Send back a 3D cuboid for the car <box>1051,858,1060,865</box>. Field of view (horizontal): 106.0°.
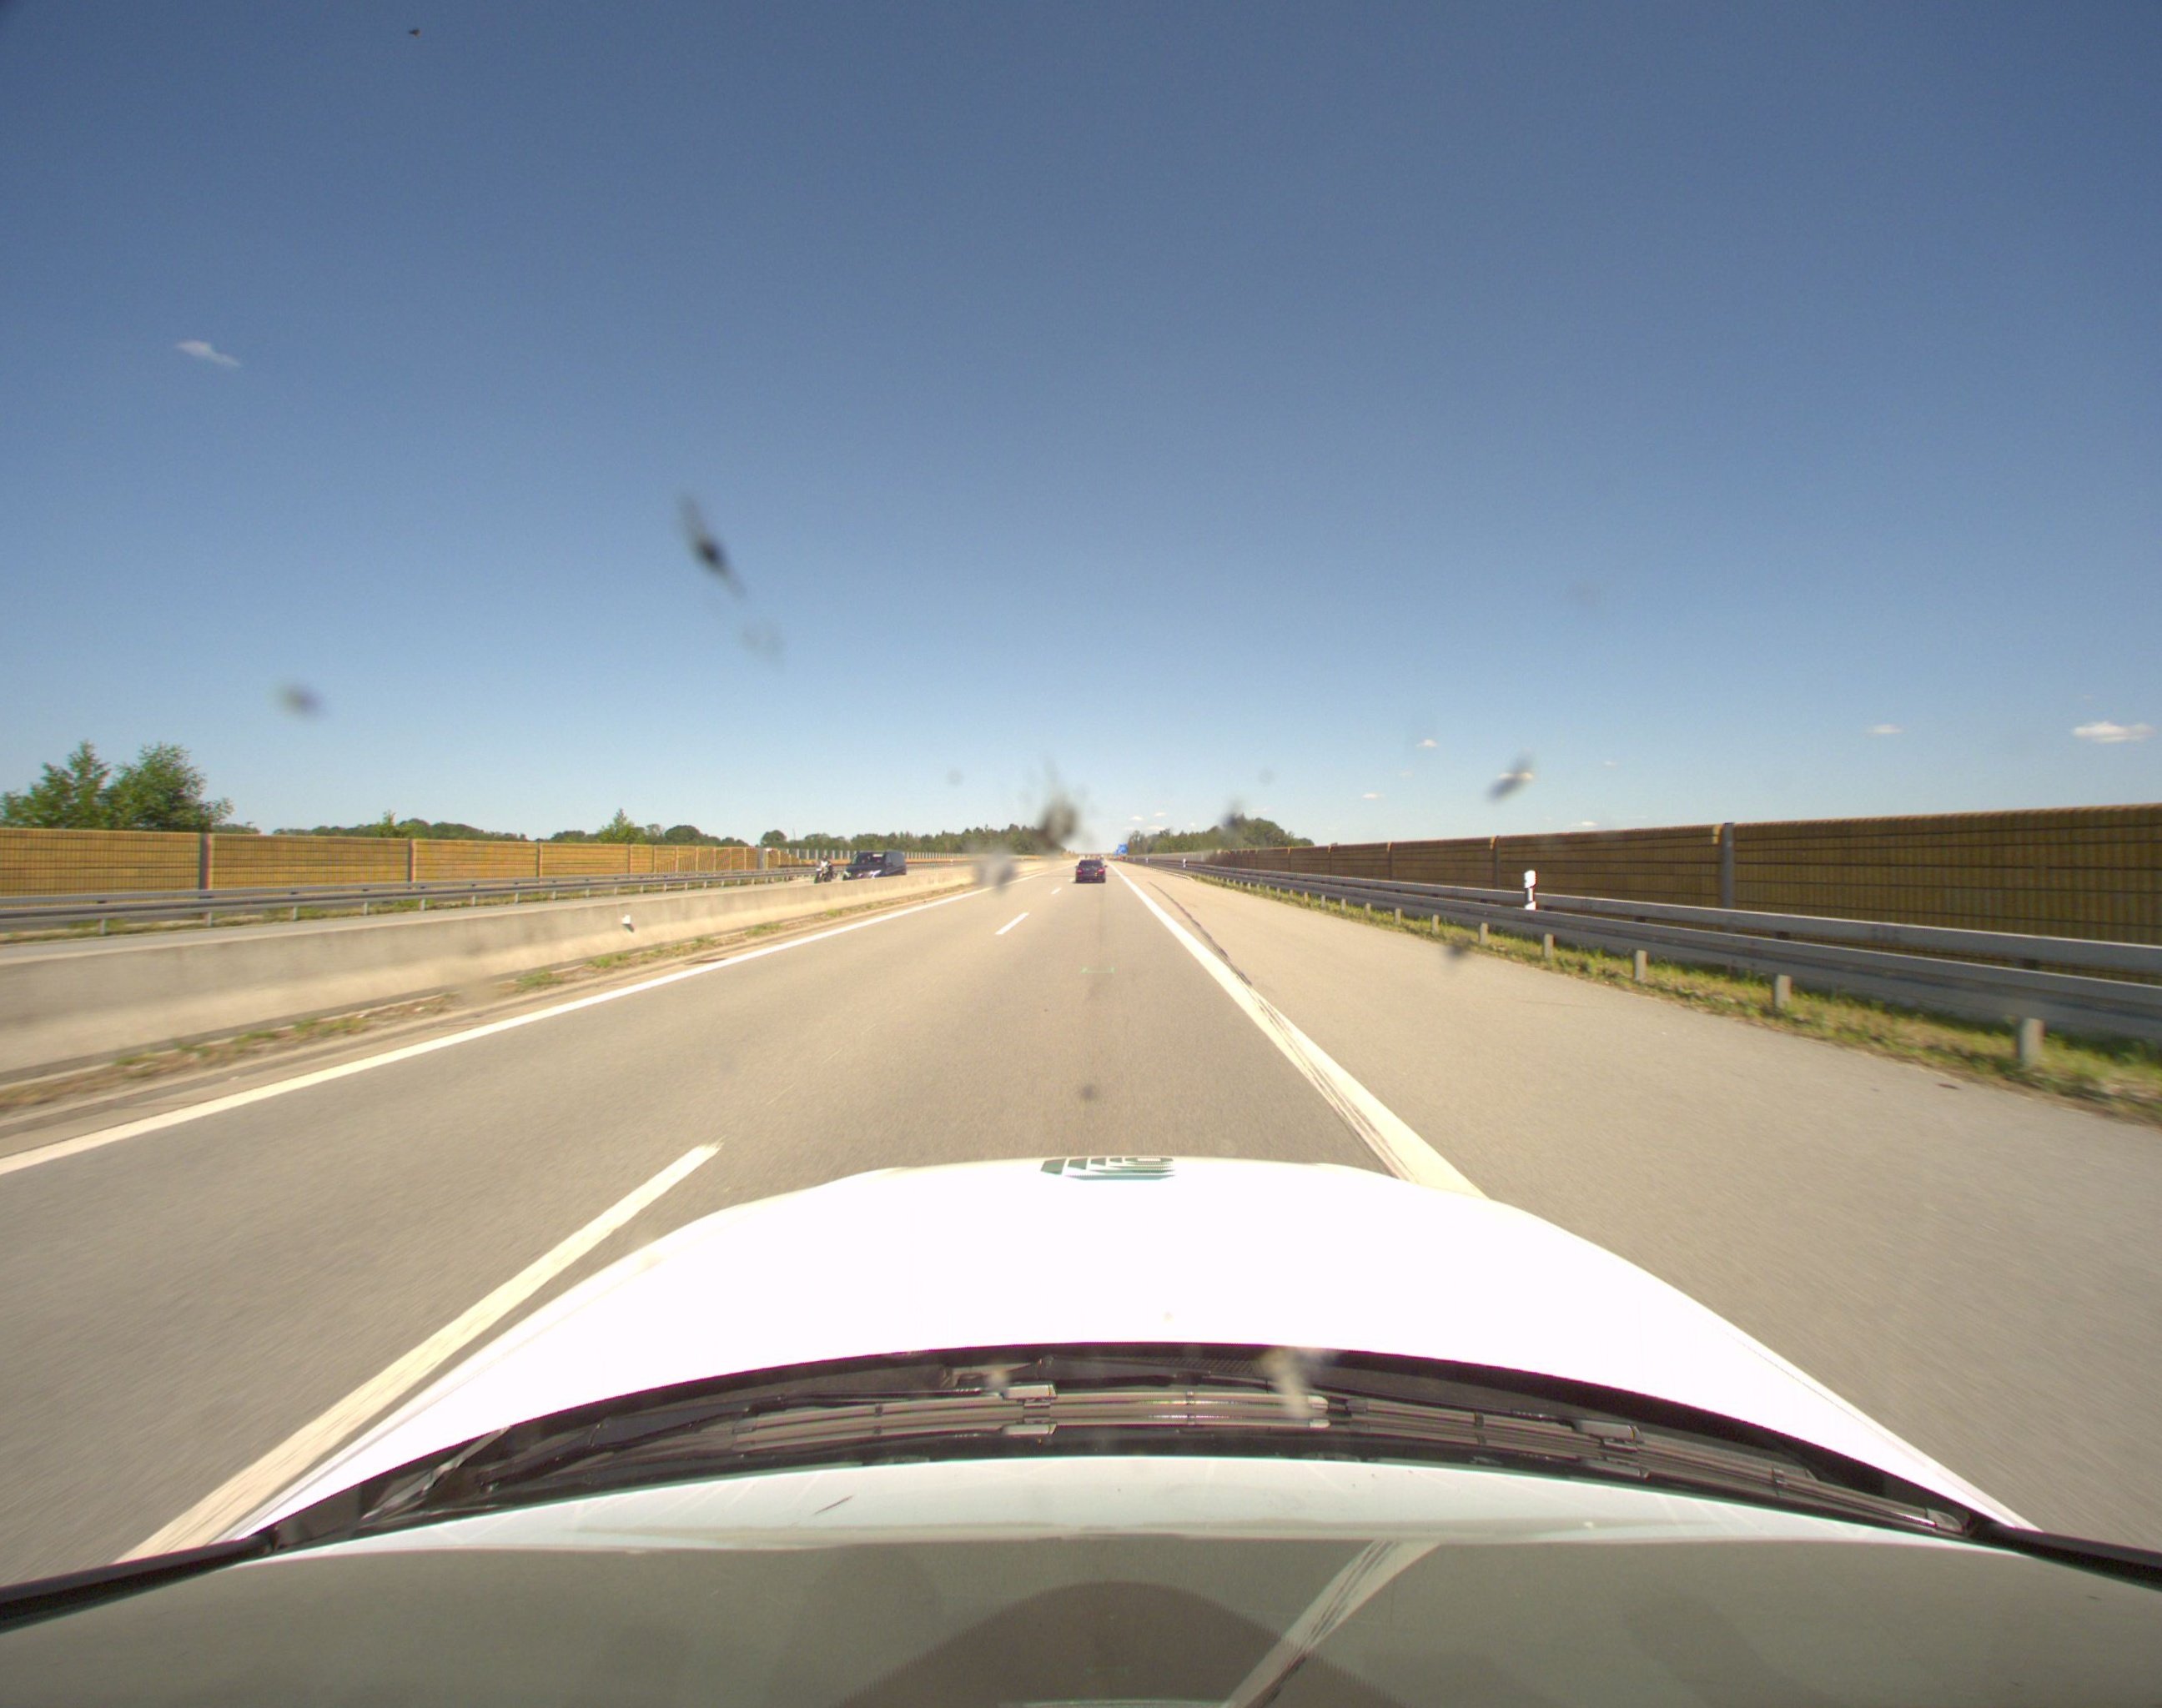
[{"bbox_3d":[-7.420,2.128,236.286,1.985,2.014,4.764,-1,0,3],"label":"car"}]

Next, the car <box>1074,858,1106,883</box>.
[{"bbox_3d":[0.552,0.943,48.289,1.783,1.374,3.918,-1,0,2],"label":"car"}]

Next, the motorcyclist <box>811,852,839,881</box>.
[{"bbox_3d":[-13.777,0.670,43.883,1.008,1.564,1.429,-1,-1,2],"label":"motorcyclist"}]

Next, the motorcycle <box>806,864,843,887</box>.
[{"bbox_3d":[-13.773,1.127,43.863,1.009,1.167,2.869,-1,0,2],"label":"motorcycle"}]

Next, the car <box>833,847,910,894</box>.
[{"bbox_3d":[-9.833,0.747,38.713,1.986,2.014,5.739,-1,0,2],"label":"car"}]
